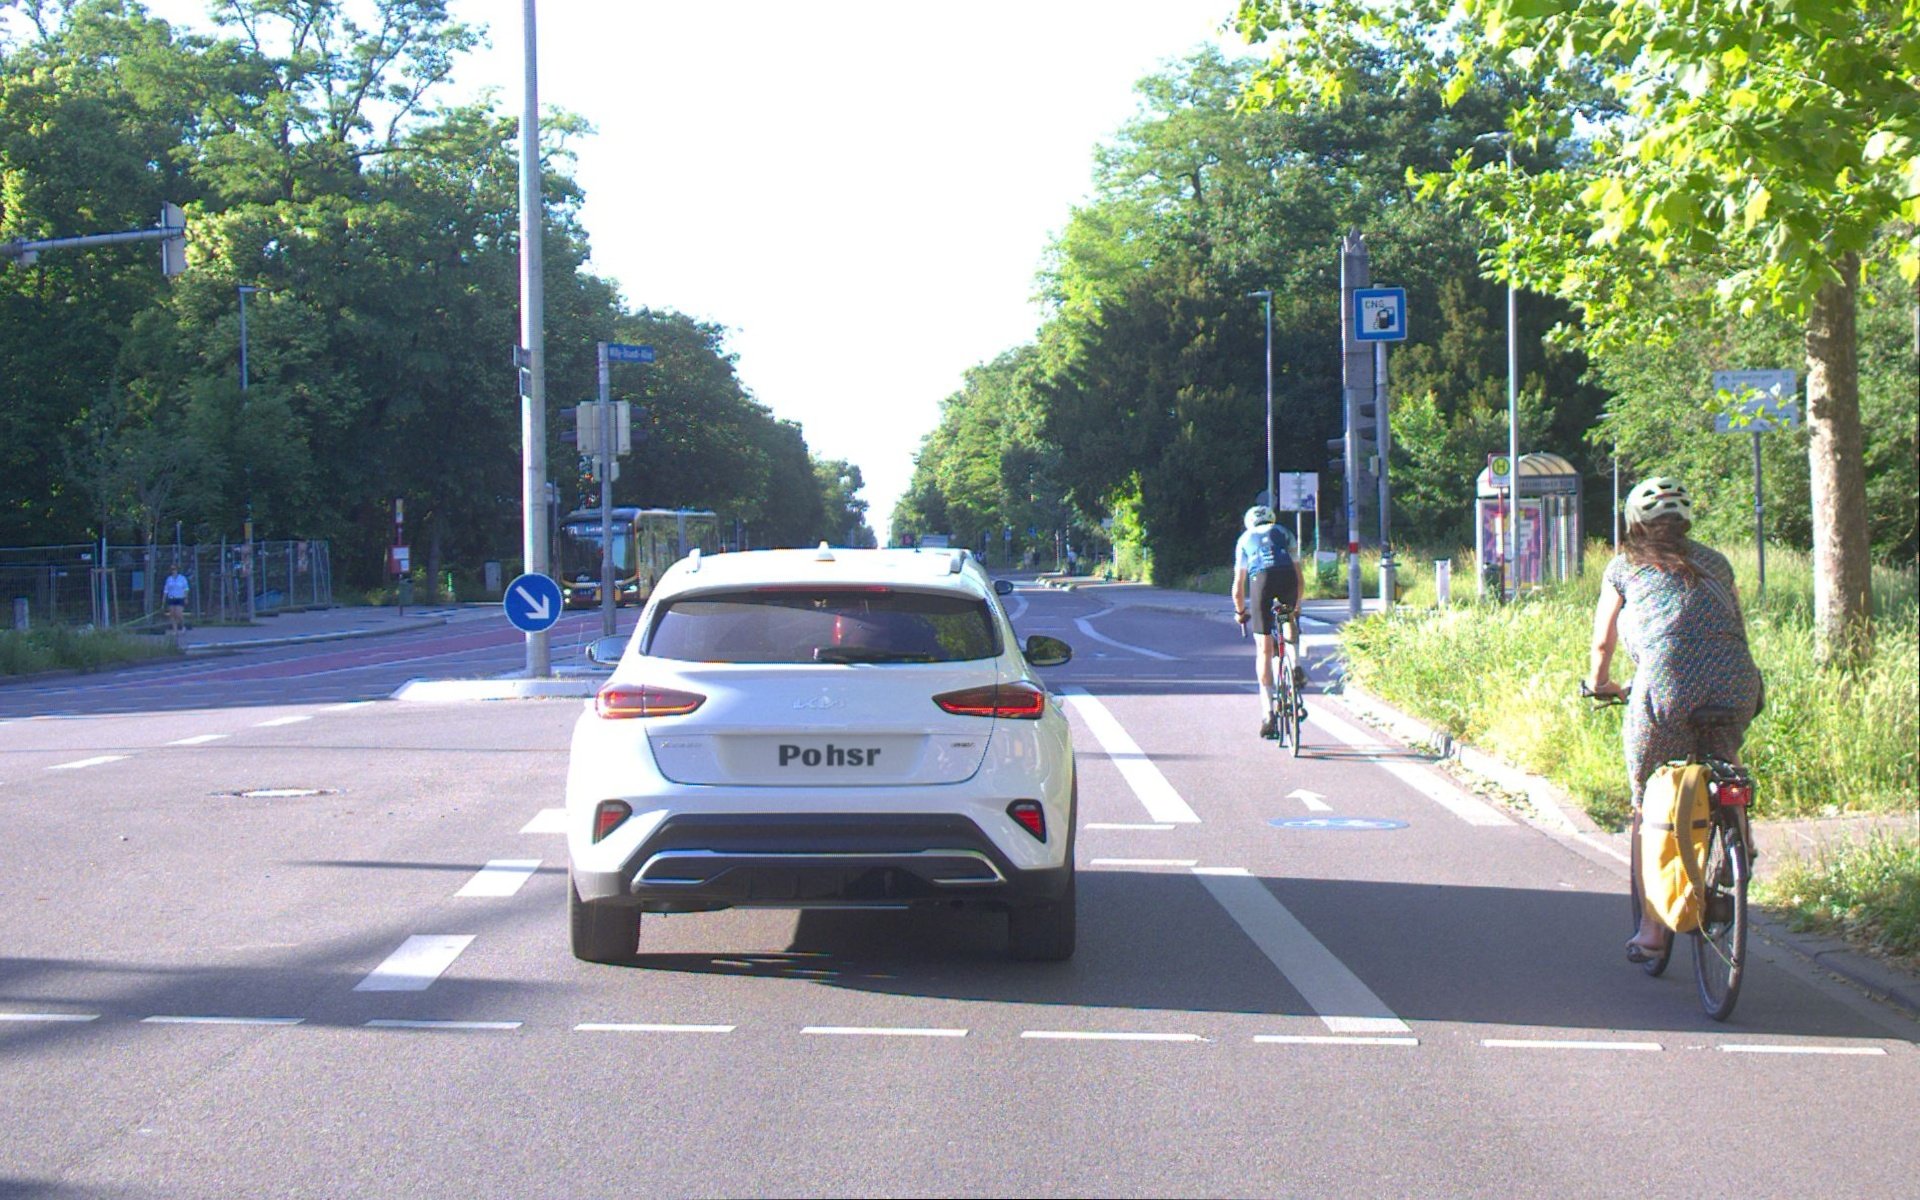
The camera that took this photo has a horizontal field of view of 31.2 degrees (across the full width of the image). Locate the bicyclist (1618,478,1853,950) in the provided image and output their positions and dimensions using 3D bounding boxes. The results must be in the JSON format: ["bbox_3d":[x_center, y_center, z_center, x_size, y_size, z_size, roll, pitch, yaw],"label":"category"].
[{"bbox_3d":[2.535,0.359,11.302,0.693,1.485,0.800,-1,1,11],"label":"bicyclist"}]

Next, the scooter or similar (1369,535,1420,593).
[{"bbox_3d":[9.644,-0.799,76.313,0.722,1.243,1.326,-3,-1,23],"label":"scooter or similar"}]

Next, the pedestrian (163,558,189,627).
[{"bbox_3d":[-17.356,-0.169,76.110,0.451,1.528,0.571,-1,1,-4],"label":"pedestrian"}]

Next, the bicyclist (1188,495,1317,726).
[{"bbox_3d":[2.025,0.062,23.815,0.860,1.562,0.881,0,1,5],"label":"bicyclist"}]

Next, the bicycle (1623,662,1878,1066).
[{"bbox_3d":[2.507,0.793,11.083,0.693,1.092,2.135,-1,1,11],"label":"bicycle"}]

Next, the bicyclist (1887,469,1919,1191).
[{"bbox_3d":[2.338,0.474,6.804,0.693,1.496,0.892,-2,1,-3],"label":"bicyclist"}]

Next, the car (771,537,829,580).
[{"bbox_3d":[-5.655,-1.483,122.103,1.710,1.416,4.555,-1,2,1],"label":"car"}]

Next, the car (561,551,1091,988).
[{"bbox_3d":[-0.588,0.546,13.431,1.761,1.454,3.818,1,1,-4],"label":"car"}]

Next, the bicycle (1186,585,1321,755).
[{"bbox_3d":[2.045,0.462,23.975,0.891,1.092,2.136,0,1,5],"label":"bicycle"}]

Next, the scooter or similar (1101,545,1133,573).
[{"bbox_3d":[7.312,-1.907,160.190,1.537,1.245,0.534,-2,1,-44],"label":"scooter or similar"}]

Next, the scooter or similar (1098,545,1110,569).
[{"bbox_3d":[7.454,-2.231,178.042,0.533,1.245,1.541,-1,1,-1],"label":"scooter or similar"}]

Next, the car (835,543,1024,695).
[{"bbox_3d":[-0.261,0.153,34.762,1.676,1.413,3.573,-1,1,3],"label":"car"}]

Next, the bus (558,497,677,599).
[{"bbox_3d":[-11.343,-1.736,114.472,2.840,3.186,8.599,-1,1,1],"label":"bus"}]
